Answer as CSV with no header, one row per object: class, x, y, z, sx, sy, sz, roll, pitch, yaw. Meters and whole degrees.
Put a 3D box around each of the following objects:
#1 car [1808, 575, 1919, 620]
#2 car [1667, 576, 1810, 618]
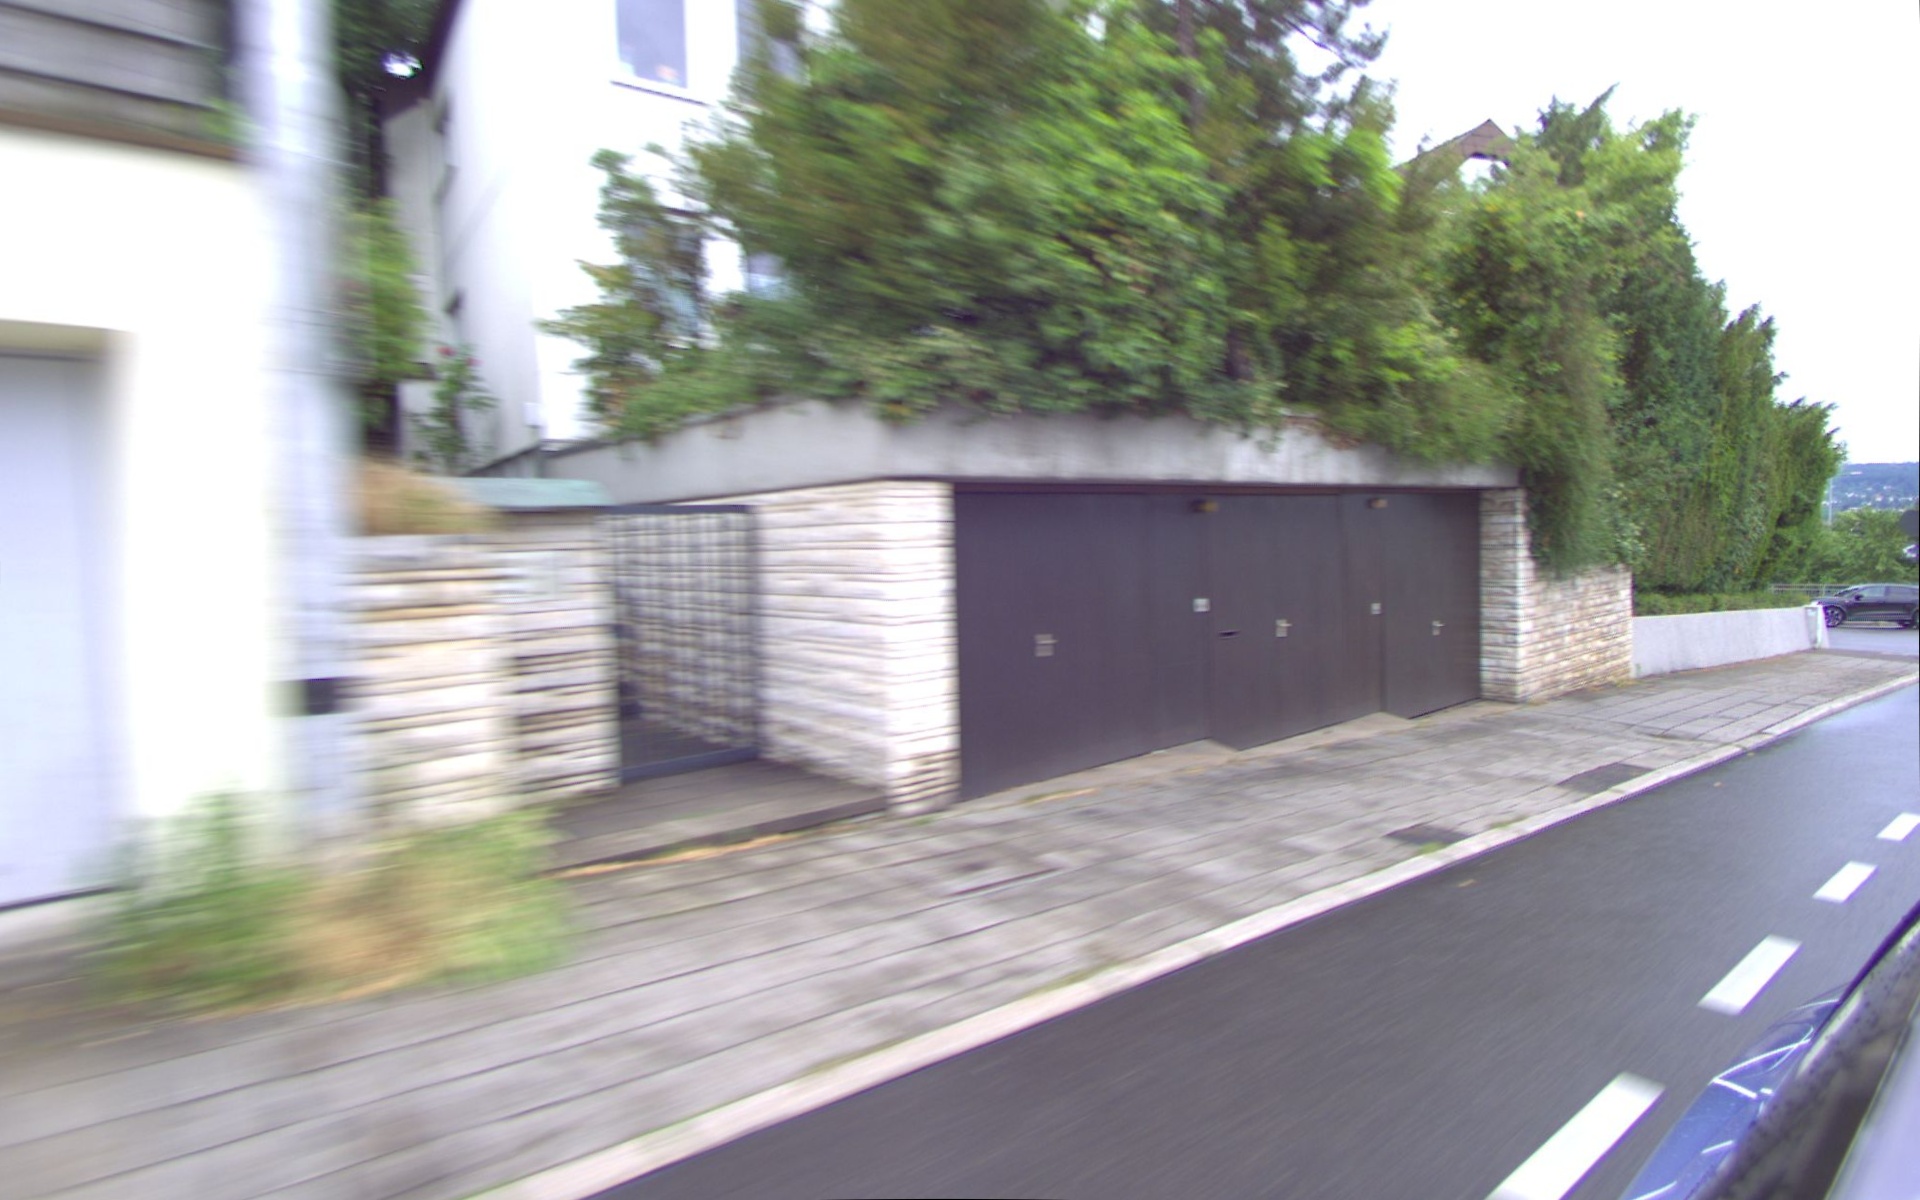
car,33.450,-0.112,36.378,4.161,1.541,1.982,1,2,27
car,29.468,-0.158,38.468,4.019,1.442,1.784,1,3,28
